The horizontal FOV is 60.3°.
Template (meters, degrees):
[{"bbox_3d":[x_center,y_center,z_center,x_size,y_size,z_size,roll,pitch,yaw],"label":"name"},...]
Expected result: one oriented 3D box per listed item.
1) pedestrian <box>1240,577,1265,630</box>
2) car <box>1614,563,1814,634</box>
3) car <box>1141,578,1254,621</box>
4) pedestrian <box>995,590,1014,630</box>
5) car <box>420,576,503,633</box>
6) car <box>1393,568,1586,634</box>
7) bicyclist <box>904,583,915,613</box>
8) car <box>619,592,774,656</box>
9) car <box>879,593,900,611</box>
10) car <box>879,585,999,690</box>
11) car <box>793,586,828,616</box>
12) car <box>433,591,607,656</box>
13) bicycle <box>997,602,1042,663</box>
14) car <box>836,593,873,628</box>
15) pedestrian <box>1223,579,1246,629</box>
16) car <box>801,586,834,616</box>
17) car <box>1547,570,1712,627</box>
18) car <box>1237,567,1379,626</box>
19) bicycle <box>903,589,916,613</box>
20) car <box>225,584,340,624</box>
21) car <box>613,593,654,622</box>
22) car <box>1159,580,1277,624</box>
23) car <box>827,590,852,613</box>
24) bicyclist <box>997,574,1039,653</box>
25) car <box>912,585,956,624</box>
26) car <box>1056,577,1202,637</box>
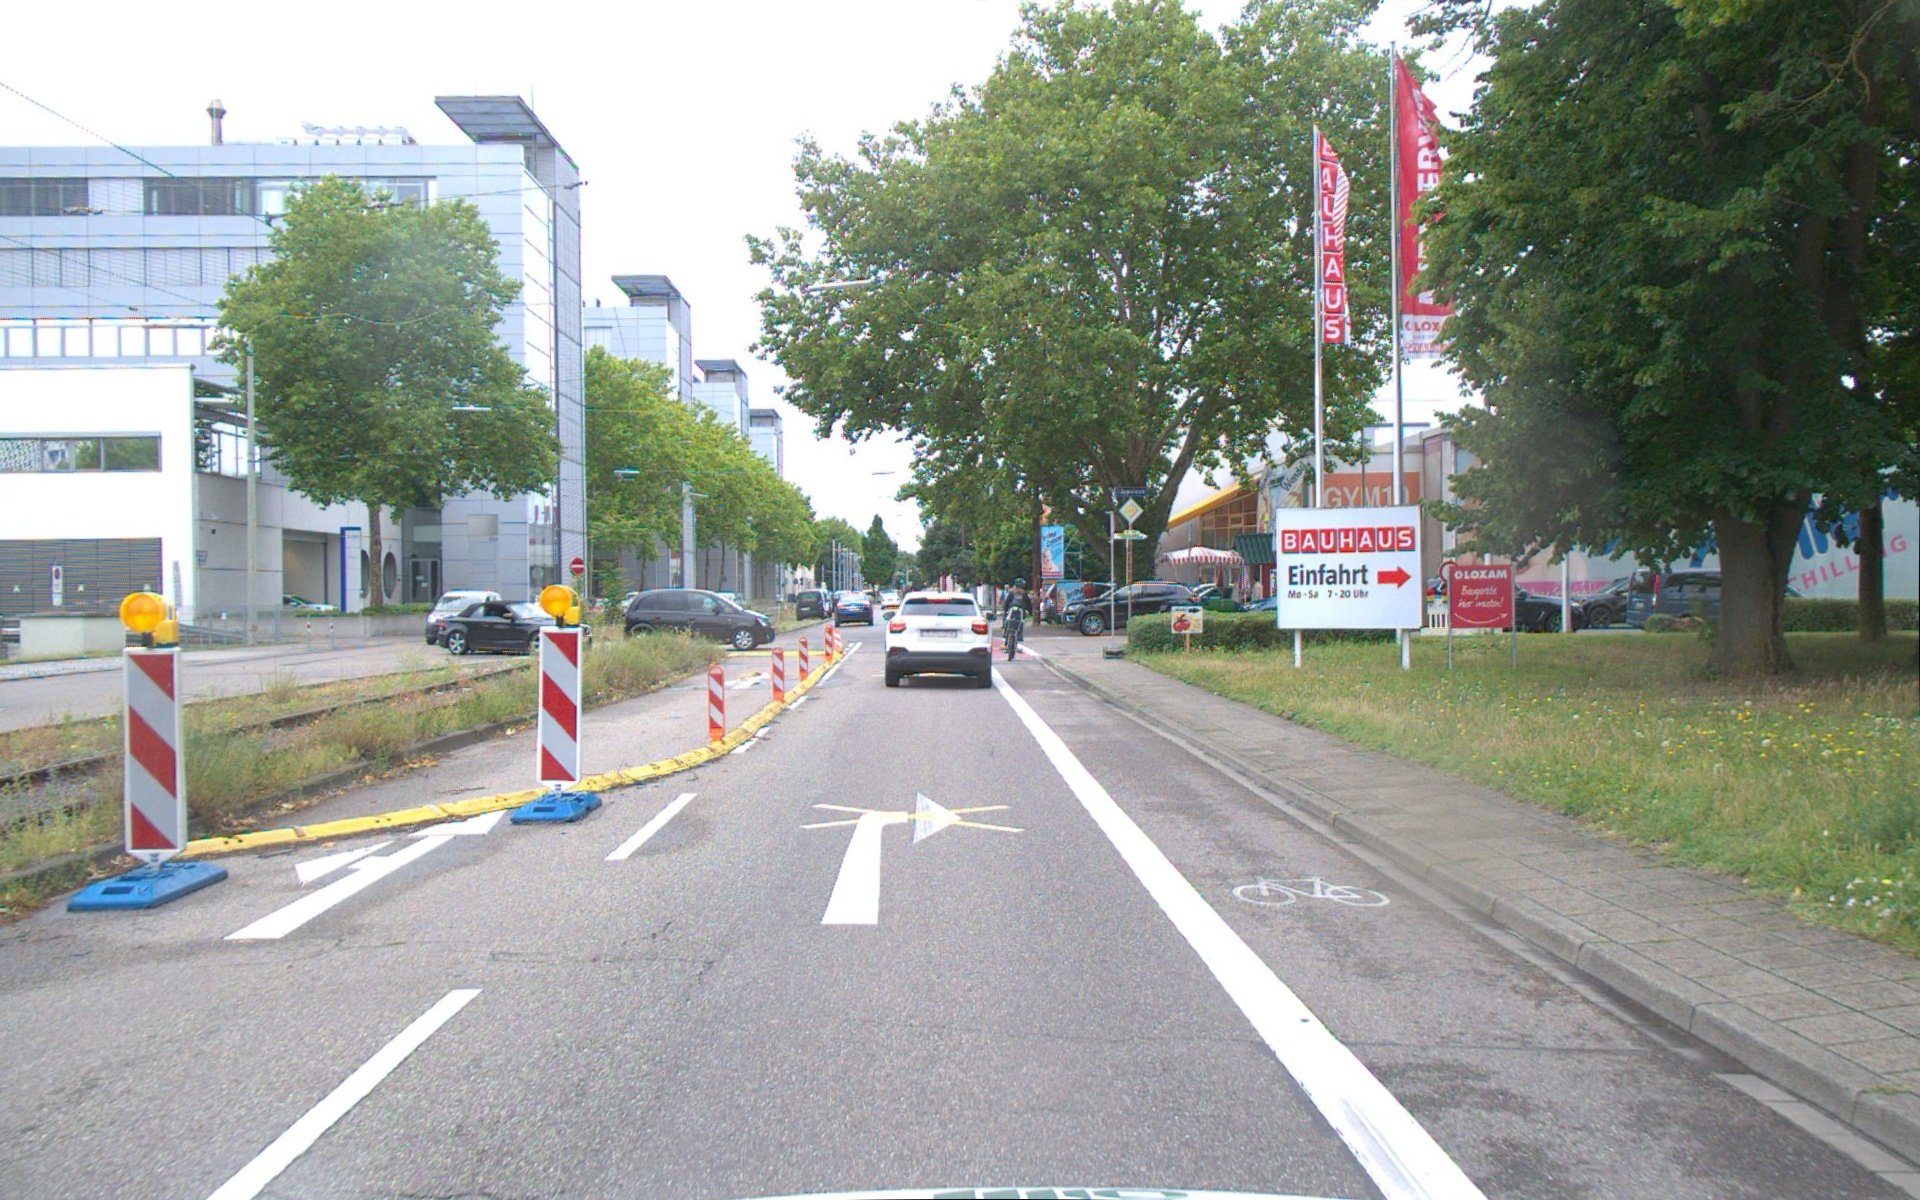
[{"bbox_3d":[9.778,0.120,55.247,0.666,1.734,0.598,-2,0,-4],"label":"pedestrian"},{"bbox_3d":[20.300,-0.061,44.649,4.461,1.821,2.073,-1,1,-2],"label":"car"},{"bbox_3d":[9.400,-0.032,65.595,4.130,1.579,1.788,-1,0,-4],"label":"car"},{"bbox_3d":[1.957,0.426,72.780,0.746,1.734,0.680,-2,0,-7],"label":"pedestrian"},{"bbox_3d":[-16.824,0.133,56.005,1.784,1.814,4.422,-1,0,-5],"label":"car"},{"bbox_3d":[14.014,0.013,43.923,4.461,1.599,1.992,-1,0,-2],"label":"car"},{"bbox_3d":[-3.085,-0.135,100.827,0.657,1.847,0.759,0,0,-5],"label":"bicyclist"},{"bbox_3d":[-6.888,0.622,43.535,3.805,1.583,1.825,1,0,-2],"label":"car"},{"bbox_3d":[-6.414,0.178,150.650,1.760,1.540,3.703,0,1,-4],"label":"car"},{"bbox_3d":[-0.416,0.572,27.910,1.787,1.628,3.773,0,1,-4],"label":"car"},{"bbox_3d":[-8.860,0.038,98.205,1.839,1.661,3.998,-2,0,-3],"label":"car"},{"bbox_3d":[-11.375,0.616,42.760,4.032,1.501,1.825,-3,-1,21],"label":"car"},{"bbox_3d":[1.270,0.688,35.912,0.800,1.234,2.682,-1,0,-1],"label":"bicycle"},{"bbox_3d":[-4.814,0.454,75.226,1.651,1.540,3.703,0,1,-4],"label":"car"},{"bbox_3d":[9.633,0.141,58.063,0.666,1.734,0.598,-2,0,-4],"label":"pedestrian"},{"bbox_3d":[-8.941,0.060,104.021,1.839,1.794,3.998,-2,0,-3],"label":"car"},{"bbox_3d":[21.502,-0.058,53.270,4.458,1.706,2.082,-1,0,2],"label":"car"},{"bbox_3d":[10.853,-0.103,51.814,4.123,1.706,1.994,-1,0,6],"label":"car"},{"bbox_3d":[-3.081,0.057,100.749,0.657,1.418,2.165,0,1,-4],"label":"bicycle"},{"bbox_3d":[-30.646,0.190,74.884,4.423,1.699,1.824,1,0,-5],"label":"car"},{"bbox_3d":[-20.137,0.451,102.218,1.839,1.661,4.203,-2,0,-3],"label":"car"},{"bbox_3d":[9.873,0.074,63.463,4.130,1.579,1.788,-1,0,-4],"label":"car"},{"bbox_3d":[-9.610,0.118,132.408,1.839,1.794,3.998,-2,0,-3],"label":"car"},{"bbox_3d":[1.258,0.290,35.909,0.800,1.658,1.235,-1,0,-1],"label":"bicyclist"},{"bbox_3d":[-1.199,0.190,74.515,1.839,1.661,3.998,-2,0,-3],"label":"car"},{"bbox_3d":[5.161,0.191,50.927,4.226,1.706,1.992,-1,0,-1],"label":"car"}]
